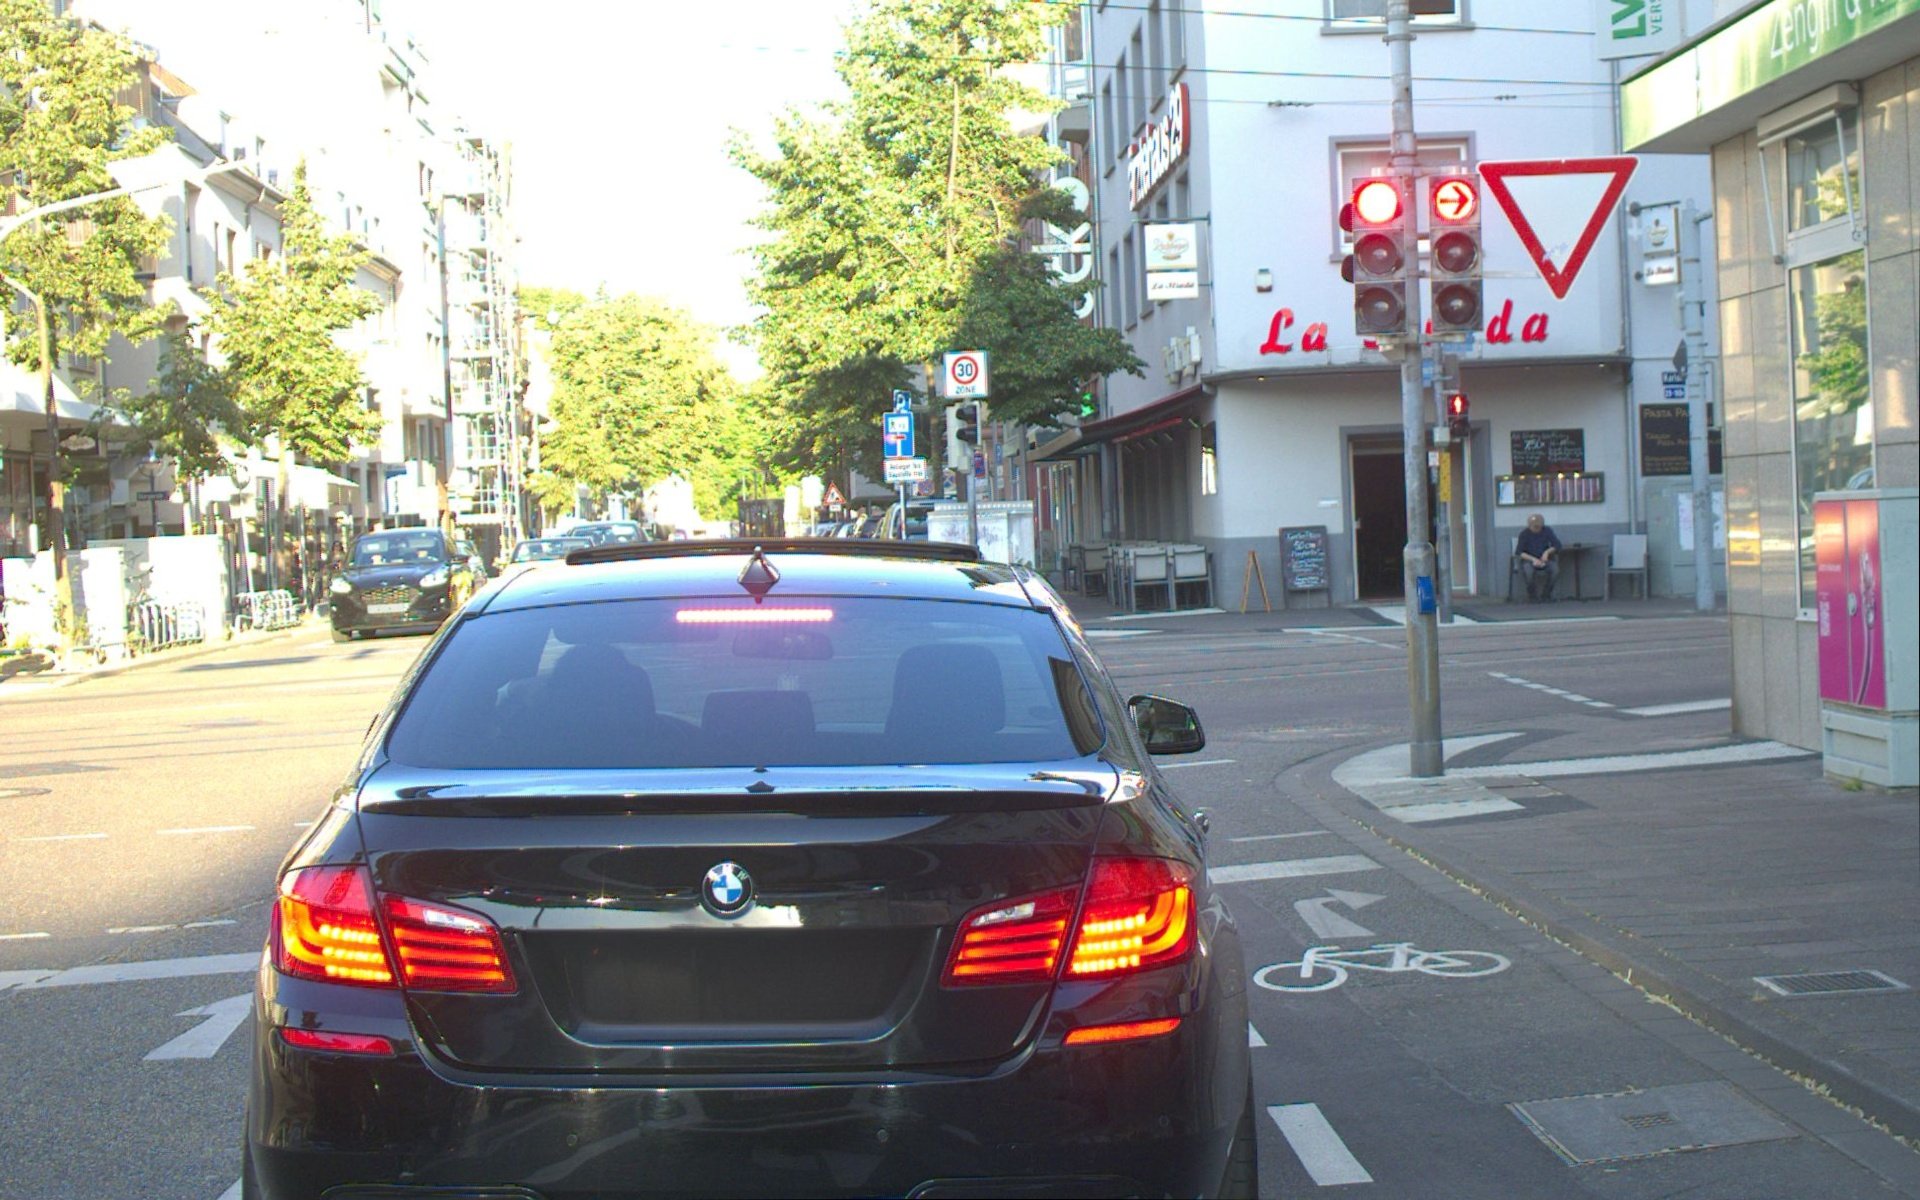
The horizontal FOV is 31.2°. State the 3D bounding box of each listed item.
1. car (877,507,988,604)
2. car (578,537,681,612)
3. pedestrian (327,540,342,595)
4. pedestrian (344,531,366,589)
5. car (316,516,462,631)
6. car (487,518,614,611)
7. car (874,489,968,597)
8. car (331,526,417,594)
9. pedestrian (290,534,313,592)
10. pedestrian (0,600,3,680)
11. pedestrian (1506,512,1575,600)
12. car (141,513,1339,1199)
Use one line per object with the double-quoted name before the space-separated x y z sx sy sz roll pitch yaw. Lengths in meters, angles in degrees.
"car" -0.459 -0.707 54.596 1.625 1.466 3.395 -1 1 -2
"car" -6.219 -0.505 64.436 1.733 1.288 4.001 -2 1 -7
"pedestrian" -15.444 -0.805 84.942 0.306 1.354 0.285 -3 1 -11
"pedestrian" -14.965 -0.987 85.011 0.444 1.411 0.525 -2 1 -4
"car" -8.626 -0.424 52.235 1.993 1.612 4.001 -2 1 -7
"car" -6.883 -0.615 57.670 1.993 1.437 4.001 -2 1 -7
"car" -0.709 -1.010 60.992 1.421 1.848 3.053 -1 1 -5
"car" -13.439 -0.935 79.016 1.733 1.456 4.001 -2 1 -7
"pedestrian" -16.216 -0.907 84.629 0.444 1.411 0.525 -2 1 -4
"pedestrian" -11.519 0.173 39.249 0.945 1.532 0.909 -2 1 -6
"pedestrian" 7.820 -0.598 46.327 0.697 1.153 0.844 -2 1 -3
"car" -0.453 0.577 7.710 1.903 1.535 4.450 0 1 -3
